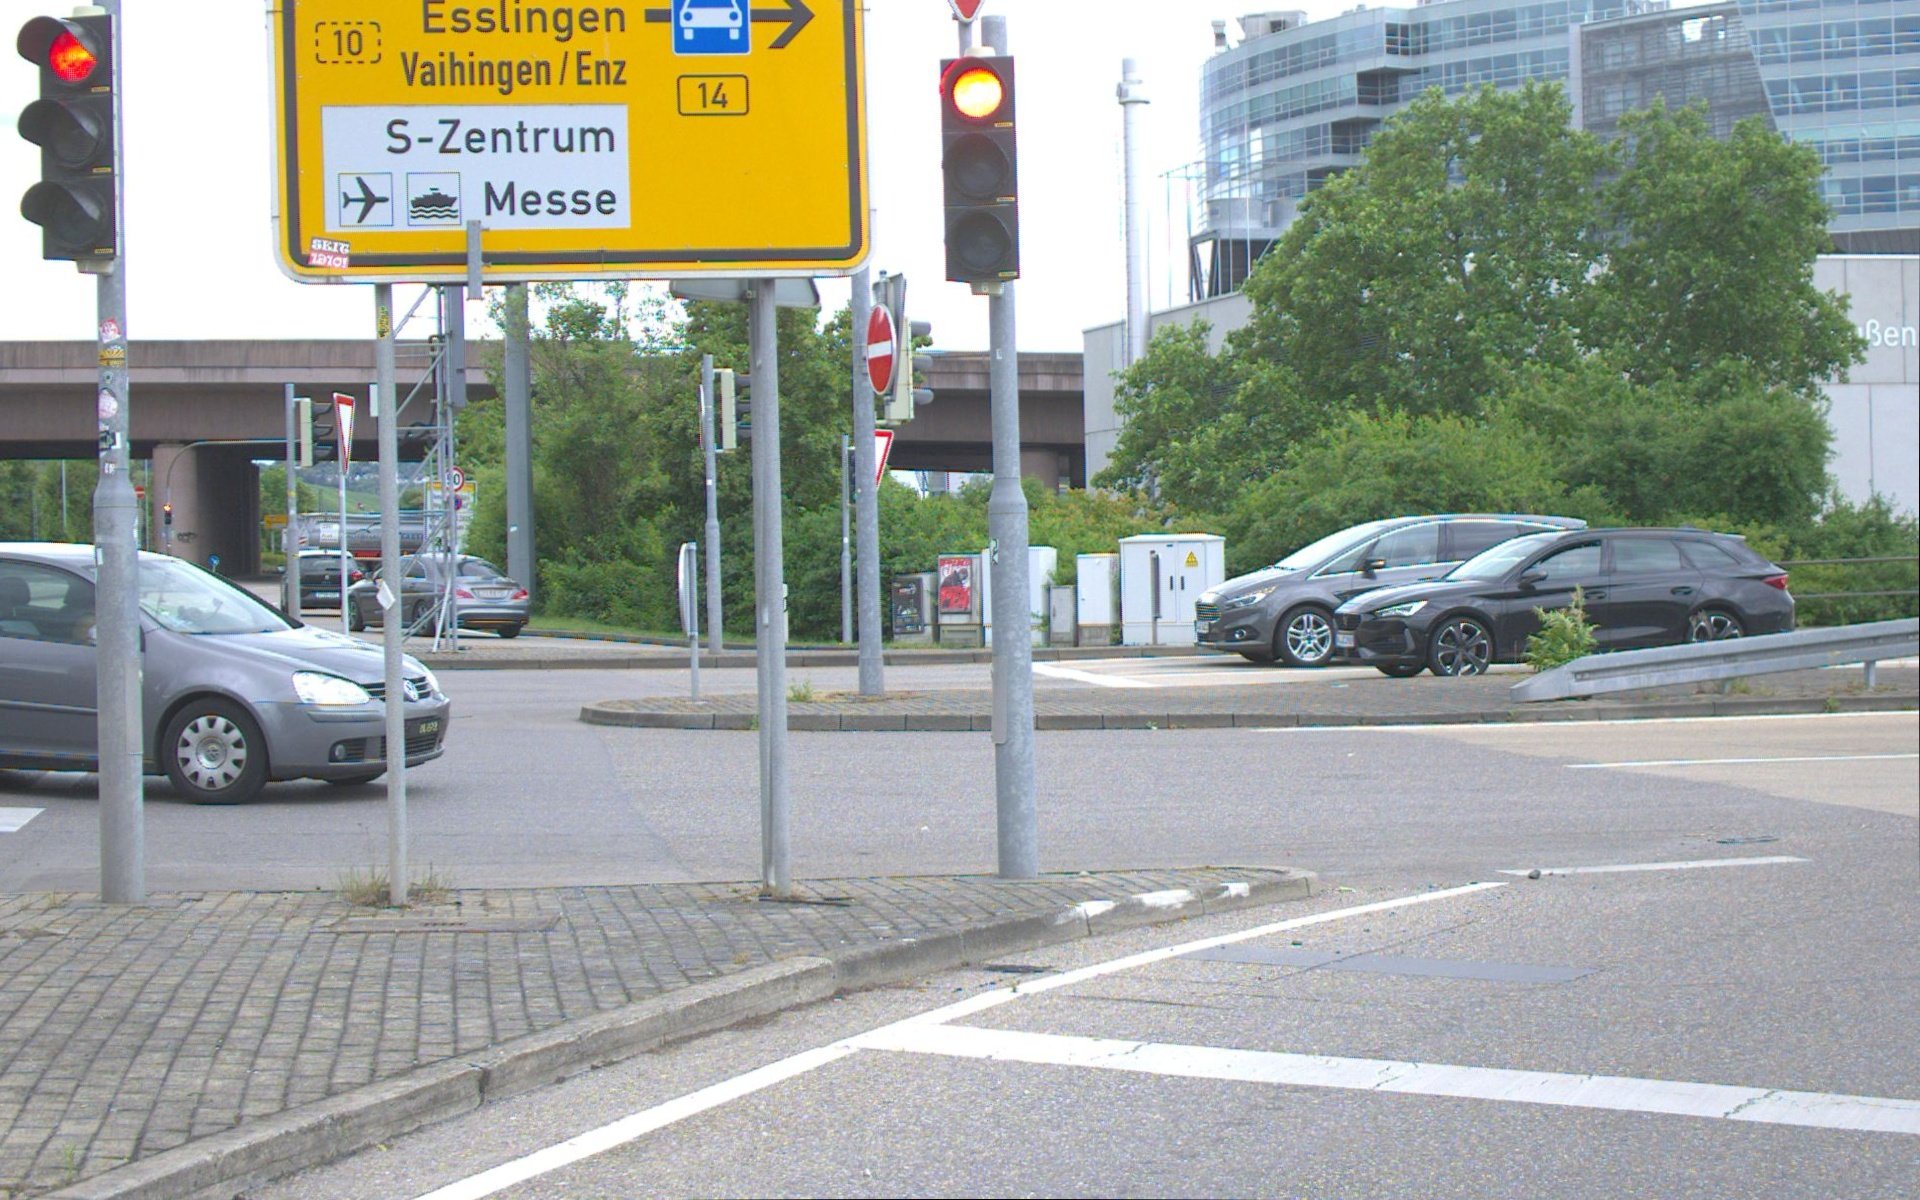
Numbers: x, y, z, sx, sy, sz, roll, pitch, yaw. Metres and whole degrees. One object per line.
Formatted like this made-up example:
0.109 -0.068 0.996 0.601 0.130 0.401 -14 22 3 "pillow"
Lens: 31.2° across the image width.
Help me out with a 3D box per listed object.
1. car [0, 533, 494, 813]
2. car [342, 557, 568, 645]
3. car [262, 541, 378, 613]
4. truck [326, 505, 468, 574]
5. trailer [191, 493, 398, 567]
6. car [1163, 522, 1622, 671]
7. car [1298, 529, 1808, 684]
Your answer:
-5.070 0.365 20.426 4.234 1.456 1.728 2 2 20 "car"
-8.667 0.037 58.775 1.994 1.437 4.109 1 -1 -39 "car"
-13.921 -0.472 74.655 1.993 1.459 4.111 1 -1 -17 "car"
-24.643 -2.637 150.394 5.759 2.615 2.622 4 1 -15 "truck"
-28.910 -3.036 149.279 8.538 2.615 2.611 4 1 -14 "trailer"
4.773 -0.067 38.208 4.677 1.566 1.956 0 2 -12 "car"
5.884 0.036 34.291 4.604 1.452 1.956 0 2 -13 "car"
